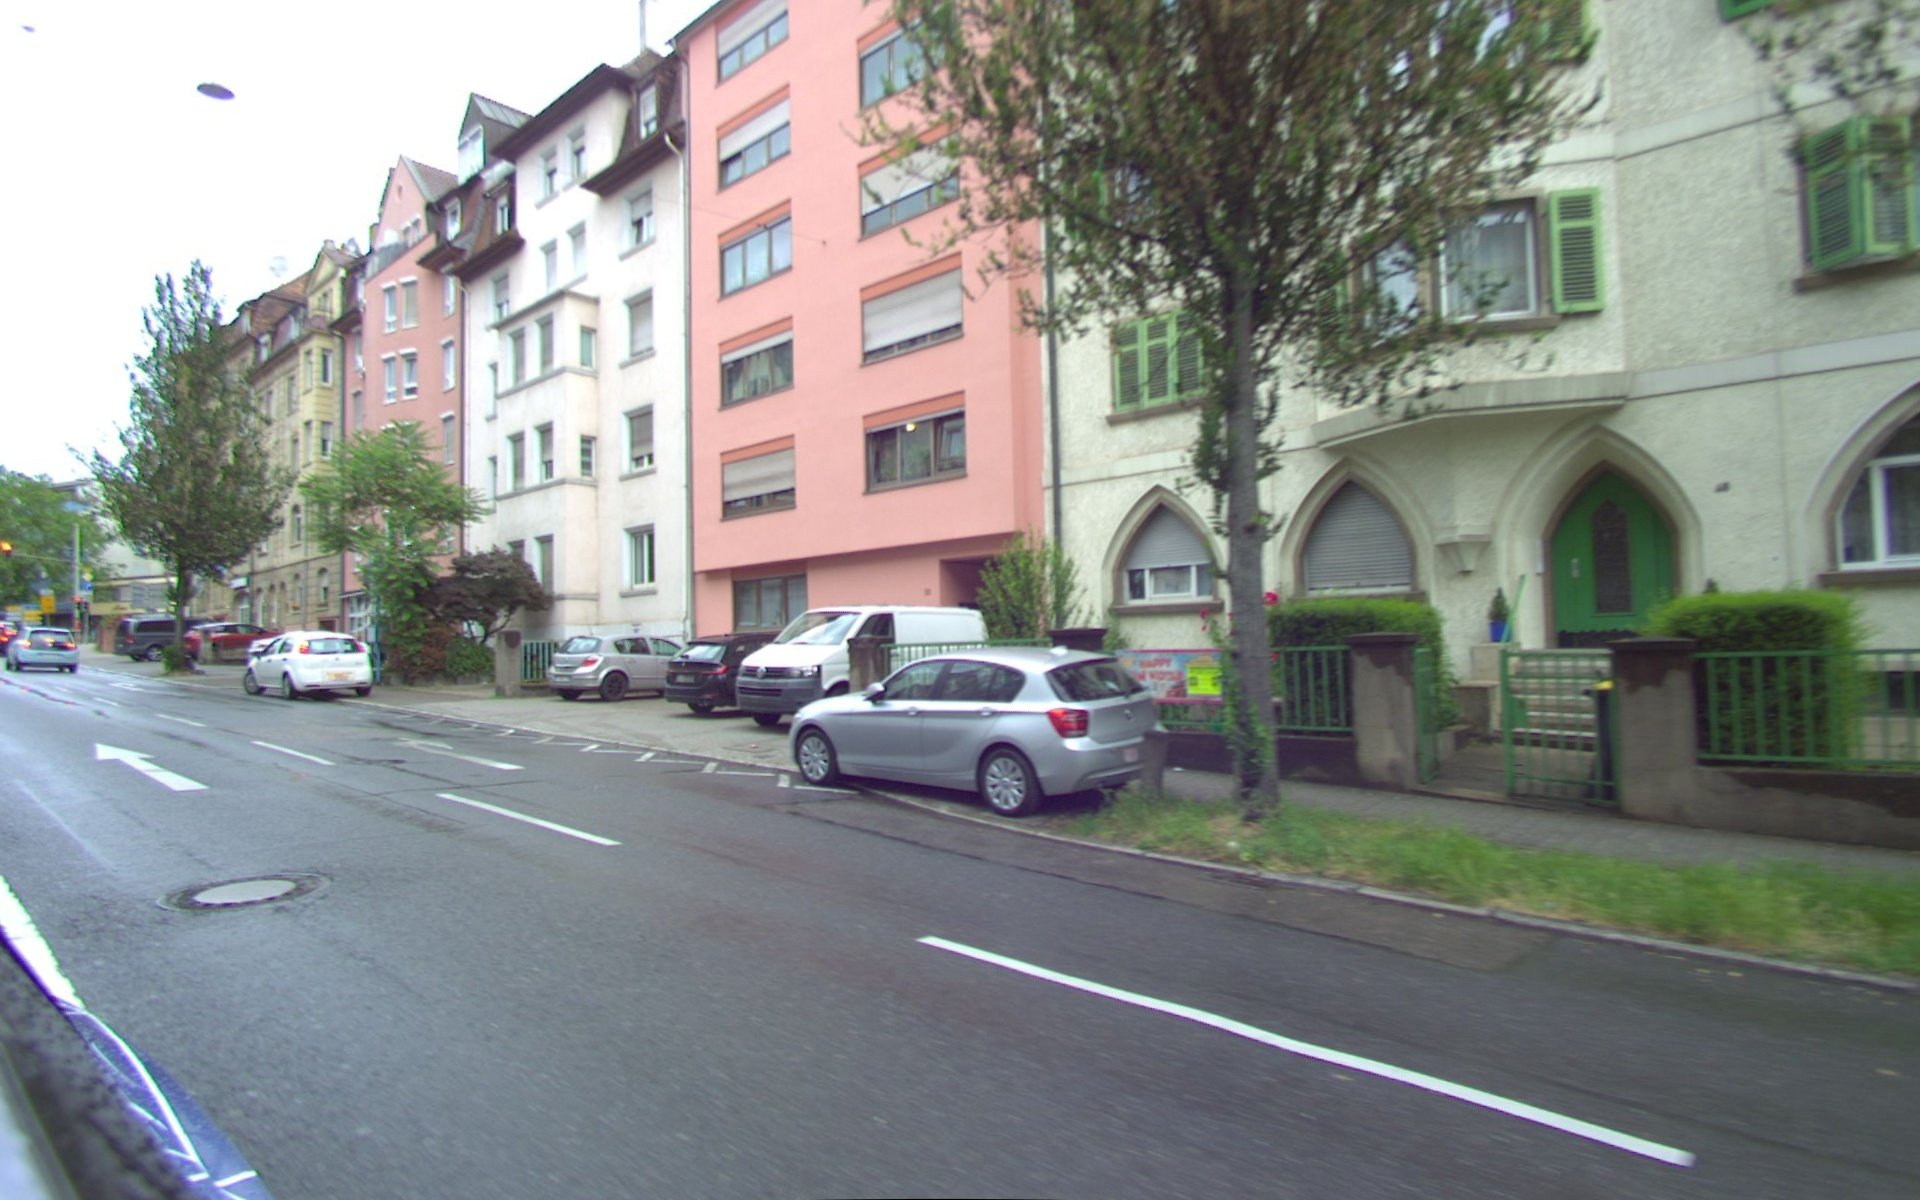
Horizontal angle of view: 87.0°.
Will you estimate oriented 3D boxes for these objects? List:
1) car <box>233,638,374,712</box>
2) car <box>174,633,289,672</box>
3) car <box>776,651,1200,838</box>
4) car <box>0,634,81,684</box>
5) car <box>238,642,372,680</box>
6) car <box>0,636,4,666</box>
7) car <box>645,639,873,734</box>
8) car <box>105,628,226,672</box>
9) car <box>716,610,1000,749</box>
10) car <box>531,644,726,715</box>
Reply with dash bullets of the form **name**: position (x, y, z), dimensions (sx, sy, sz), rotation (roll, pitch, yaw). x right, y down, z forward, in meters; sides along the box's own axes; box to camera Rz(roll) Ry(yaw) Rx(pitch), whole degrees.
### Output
- **car**: position (-15.204, 1.674, 23.390), dimensions (3.647, 1.483, 1.649), rotation (-1, -1, 38)
- **car**: position (-32.347, 2.306, 44.985), dimensions (1.592, 1.634, 3.877), rotation (-1, -3, 42)
- **car**: position (0.122, 1.244, 10.055), dimensions (4.136, 1.429, 1.663), rotation (-2, -3, 42)
- **car**: position (-32.080, 1.995, 35.238), dimensions (3.651, 1.560, 1.749), rotation (-1, -1, 41)
- **car**: position (-24.305, 2.238, 37.640), dimensions (1.646, 1.307, 3.877), rotation (-1, -3, 42)
- **car**: position (-50.772, 2.639, 52.464), dimensions (3.654, 1.468, 1.646), rotation (-1, -1, 45)
- **car**: position (-3.586, 1.488, 18.575), dimensions (1.758, 1.408, 3.880), rotation (-1, -1, 39)
- **car**: position (-35.265, 2.187, 44.973), dimensions (1.865, 1.861, 3.880), rotation (-1, -3, 39)
- **car**: position (-1.506, 1.141, 16.637), dimensions (1.917, 1.919, 4.672), rotation (-1, -1, 39)
- **car**: position (-7.276, 1.702, 22.546), dimensions (1.722, 1.408, 3.885), rotation (-1, -2, 35)
